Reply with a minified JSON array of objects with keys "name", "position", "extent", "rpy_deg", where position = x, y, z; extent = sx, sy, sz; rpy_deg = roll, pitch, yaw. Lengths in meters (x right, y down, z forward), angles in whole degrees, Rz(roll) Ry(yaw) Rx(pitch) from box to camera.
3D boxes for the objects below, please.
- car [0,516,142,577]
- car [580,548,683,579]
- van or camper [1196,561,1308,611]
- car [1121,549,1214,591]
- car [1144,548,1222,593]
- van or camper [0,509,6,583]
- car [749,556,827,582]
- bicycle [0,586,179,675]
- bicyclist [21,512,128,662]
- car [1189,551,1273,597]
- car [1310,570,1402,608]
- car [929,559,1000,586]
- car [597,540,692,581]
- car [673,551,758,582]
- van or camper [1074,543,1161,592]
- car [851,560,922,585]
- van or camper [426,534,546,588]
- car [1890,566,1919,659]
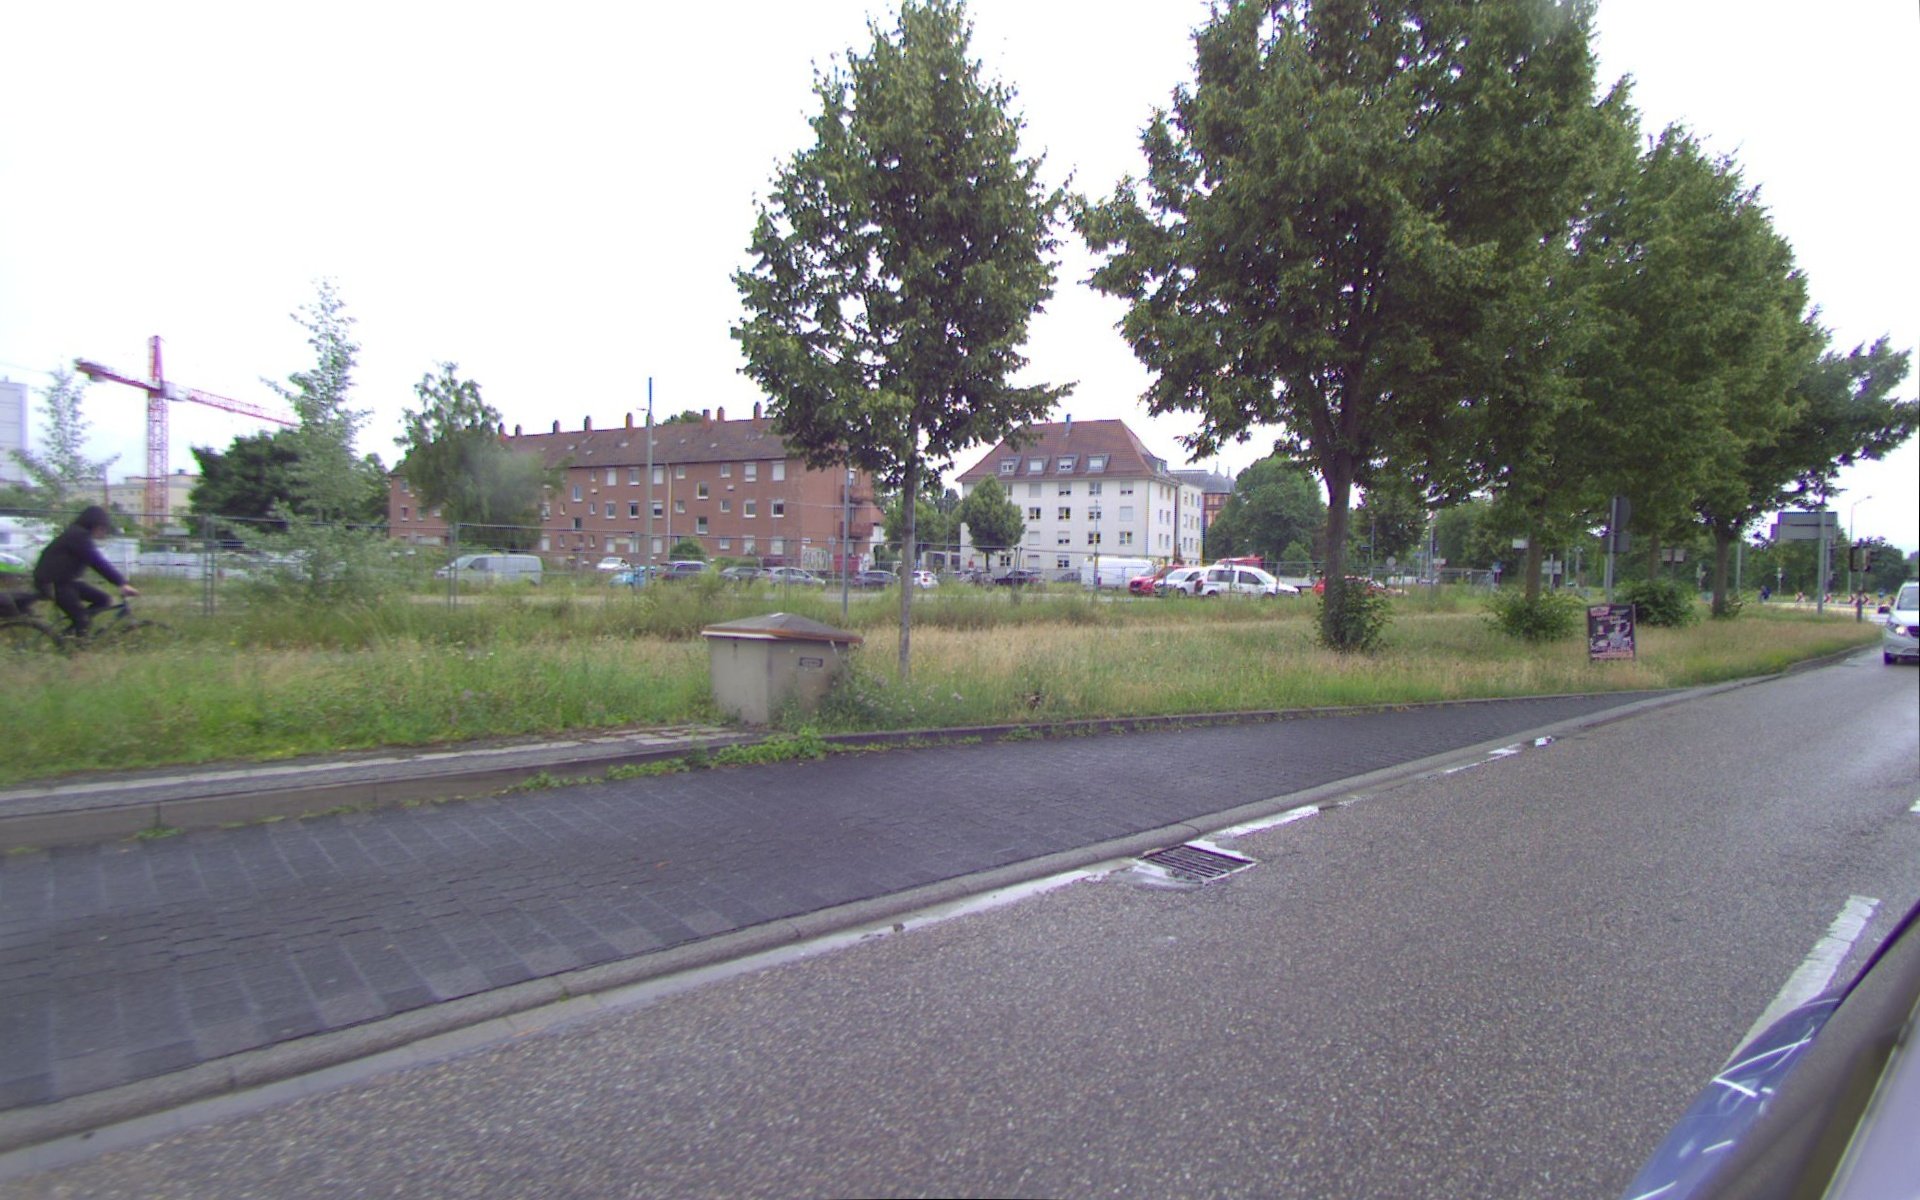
[{"name":"car","position":[-35.358,-2.056,39.851],"extent":[2.272,2.247,4.684],"rpy_deg":[2,2,44]},{"name":"car","position":[-16.163,-1.766,49.975],"extent":[1.991,1.404,4.502],"rpy_deg":[0,1,40]},{"name":"van or camper","position":[12.668,-0.633,44.066],"extent":[4.320,2.039,1.832],"rpy_deg":[2,1,43]},{"name":"car","position":[12.065,-1.712,58.701],"extent":[5.340,2.339,2.200],"rpy_deg":[0,1,-33]},{"name":"car","position":[12.263,-1.593,55.631],"extent":[3.922,2.339,2.001],"rpy_deg":[0,1,-33]},{"name":"van or camper","position":[-33.074,-1.702,30.670],"extent":[6.048,2.336,2.204],"rpy_deg":[0,1,-45]},{"name":"car","position":[-9.700,-1.728,57.175],"extent":[3.921,1.390,2.001],"rpy_deg":[-1,0,-32]},{"name":"bicycle","position":[-9.427,0.303,10.811],"extent":[1.713,0.889,0.548],"rpy_deg":[0,2,-39]},{"name":"bicyclist","position":[-9.420,-0.144,10.796],"extent":[0.825,1.524,0.537],"rpy_deg":[0,2,-39]},{"name":"car","position":[14.105,-1.332,52.609],"extent":[3.919,2.339,2.003],"rpy_deg":[0,1,-29]},{"name":"car","position":[18.699,-0.524,47.892],"extent":[1.648,1.727,3.806],"rpy_deg":[0,0,-36]},{"name":"car","position":[0.253,-1.646,61.468],"extent":[3.916,1.571,2.004],"rpy_deg":[0,0,-15]},{"name":"car","position":[-18.043,-2.231,58.015],"extent":[2.272,2.247,4.684],"rpy_deg":[2,2,44]},{"name":"car","position":[-12.890,-1.750,53.491],"extent":[1.991,1.538,3.942],"rpy_deg":[0,1,40]},{"name":"van or camper","position":[10.340,-2.067,66.230],"extent":[5.401,3.073,2.349],"rpy_deg":[-1,0,-31]},{"name":"car","position":[-4.383,-1.627,60.403],"extent":[3.916,1.471,2.004],"rpy_deg":[0,0,-15]},{"name":"van or camper","position":[-23.977,-1.923,51.327],"extent":[1.911,2.567,5.183],"rpy_deg":[1,1,41]},{"name":"car","position":[23.070,0.270,23.259],"extent":[5.003,2.004,1.971],"rpy_deg":[0,1,-42]}]
